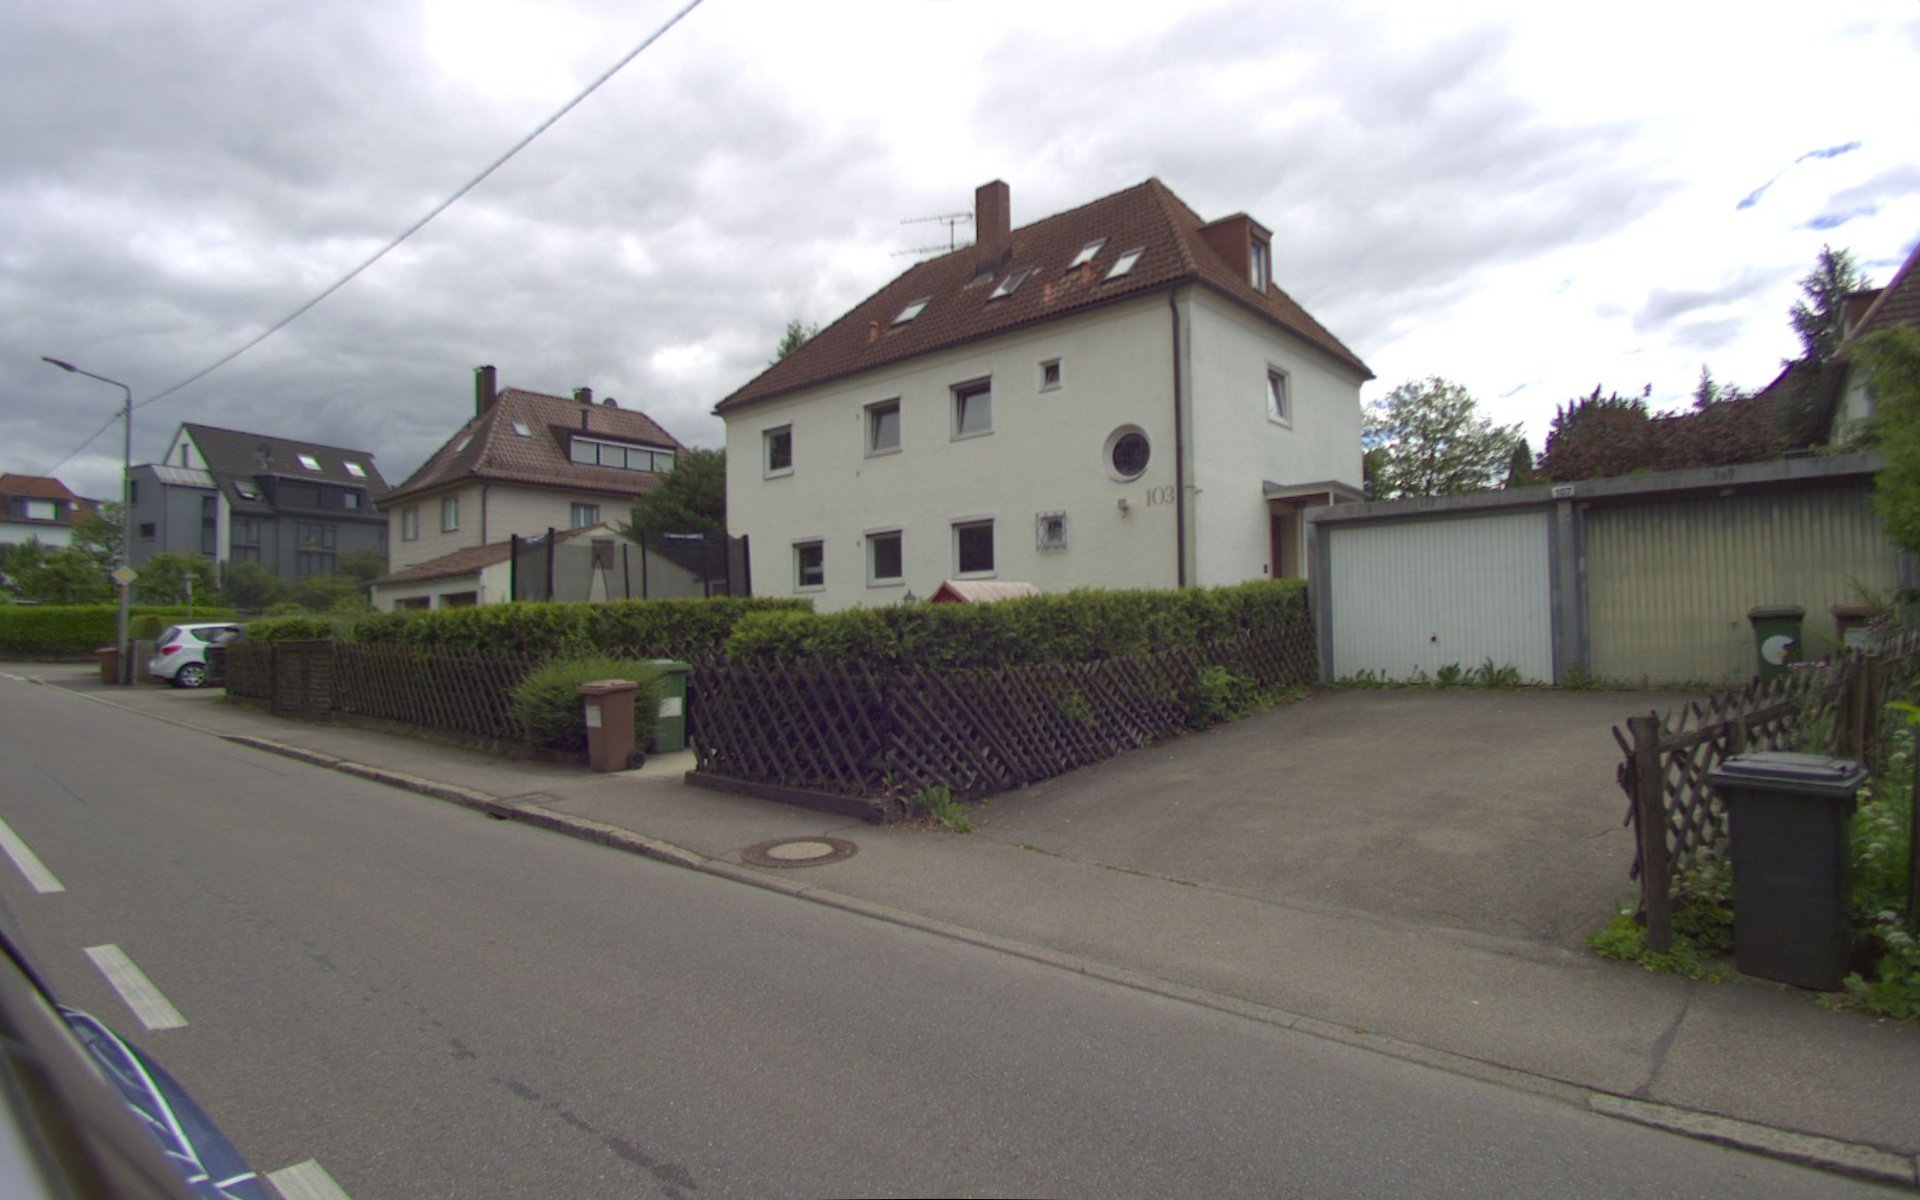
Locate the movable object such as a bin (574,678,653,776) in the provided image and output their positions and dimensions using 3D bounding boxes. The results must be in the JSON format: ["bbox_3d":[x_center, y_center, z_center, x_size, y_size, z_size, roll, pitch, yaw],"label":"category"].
[{"bbox_3d":[-3.545,1.276,10.355,0.624,0.920,0.561,1,-2,-36],"label":"movable object such as a bin"}]

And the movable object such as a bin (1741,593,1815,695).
[{"bbox_3d":[8.464,0.456,10.477,0.500,1.021,0.487,-5,-3,44],"label":"movable object such as a bin"}]

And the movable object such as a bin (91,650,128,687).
[{"bbox_3d":[-22.561,1.808,26.852,0.678,0.961,0.573,1,-2,-34],"label":"movable object such as a bin"}]

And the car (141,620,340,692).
[{"bbox_3d":[-18.796,1.405,26.566,1.718,1.606,3.945,-1,0,41],"label":"car"}]

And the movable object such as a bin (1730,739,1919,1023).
[{"bbox_3d":[3.486,1.077,4.081,0.537,0.945,0.544,-2,-2,43],"label":"movable object such as a bin"}]

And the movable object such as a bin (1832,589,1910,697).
[{"bbox_3d":[8.983,0.420,9.978,0.500,1.021,0.487,-5,-3,44],"label":"movable object such as a bin"}]

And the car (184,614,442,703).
[{"bbox_3d":[-14.697,1.249,23.219,1.881,1.682,4.624,-1,0,40],"label":"car"}]

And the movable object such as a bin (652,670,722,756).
[{"bbox_3d":[-3.230,1.320,11.995,0.512,0.960,0.626,-2,-3,44],"label":"movable object such as a bin"}]
